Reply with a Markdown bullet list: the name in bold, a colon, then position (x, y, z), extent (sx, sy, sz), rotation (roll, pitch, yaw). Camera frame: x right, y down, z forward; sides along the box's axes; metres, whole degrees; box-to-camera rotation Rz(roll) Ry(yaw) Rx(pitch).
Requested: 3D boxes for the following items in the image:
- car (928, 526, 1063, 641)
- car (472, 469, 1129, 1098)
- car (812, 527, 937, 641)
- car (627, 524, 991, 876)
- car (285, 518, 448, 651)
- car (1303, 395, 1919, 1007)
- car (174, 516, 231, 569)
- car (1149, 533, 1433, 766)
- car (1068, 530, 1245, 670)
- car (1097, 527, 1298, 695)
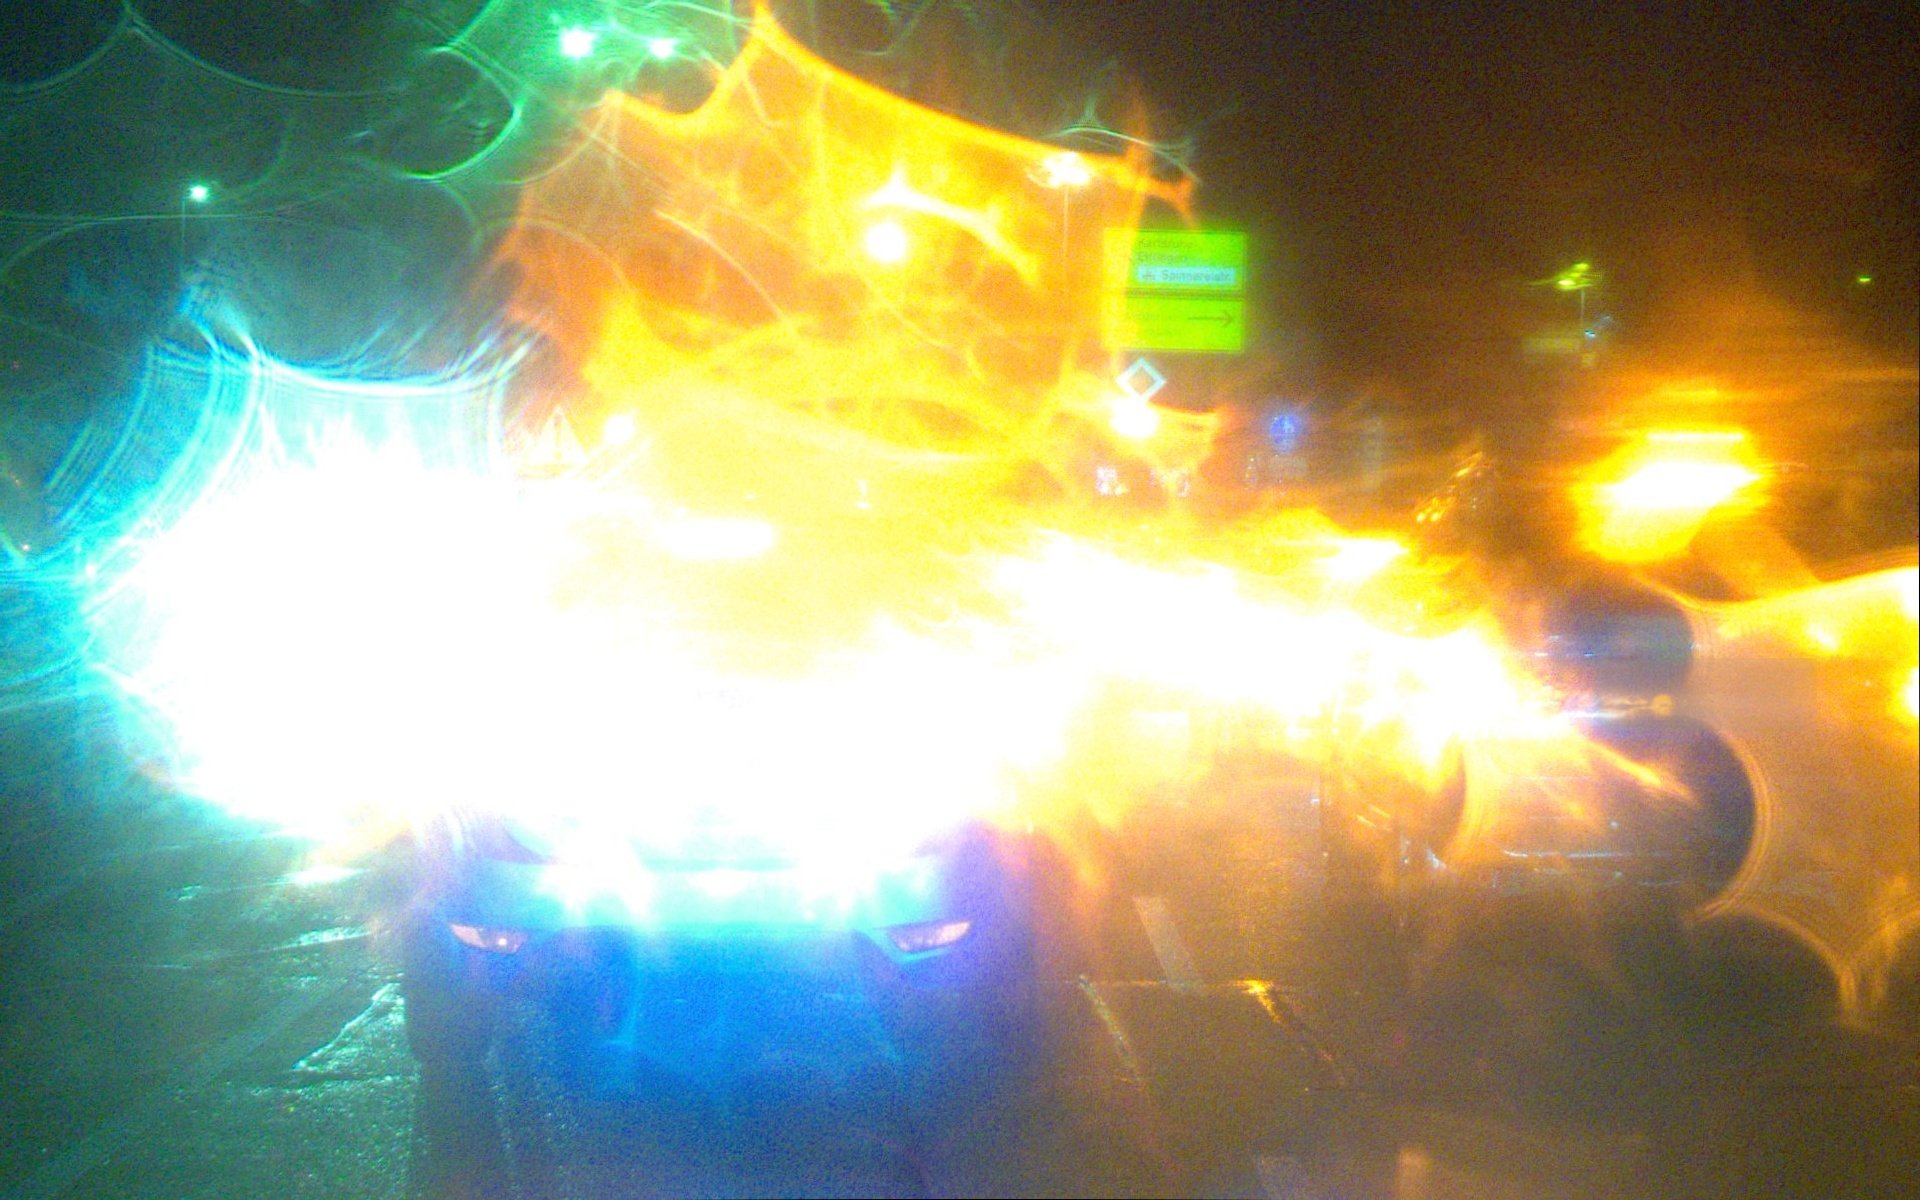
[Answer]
- **car**: position (0.424, -0.228, 45.306), extent (1.663, 1.445, 4.050), rotation (0, 1, -1)
- **car**: position (-0.435, 0.455, 10.880), extent (1.694, 1.624, 3.853), rotation (1, 1, -1)
- **car**: position (-1.343, -0.272, 52.577), extent (1.708, 1.632, 3.731), rotation (-1, 1, -4)
- **car**: position (-0.726, 0.438, 18.332), extent (1.708, 1.632, 3.731), rotation (-1, 1, 0)
- **car**: position (-8.892, -0.270, 51.807), extent (1.993, 1.905, 4.744), rotation (0, 1, -5)
- **car**: position (2.443, 0.269, 13.160), extent (1.942, 1.965, 4.218), rotation (0, 1, 2)
- **car**: position (-27.839, -2.137, 126.440), extent (1.993, 1.905, 4.744), rotation (0, 1, -11)
- **car**: position (2.217, 0.271, 23.970), extent (1.768, 1.445, 4.218), rotation (0, 2, 3)
- **car**: position (2.135, -0.042, 38.264), extent (1.663, 1.445, 4.050), rotation (0, 2, -1)
- **car**: position (2.132, 0.076, 31.728), extent (1.663, 1.445, 4.050), rotation (0, 1, 1)
